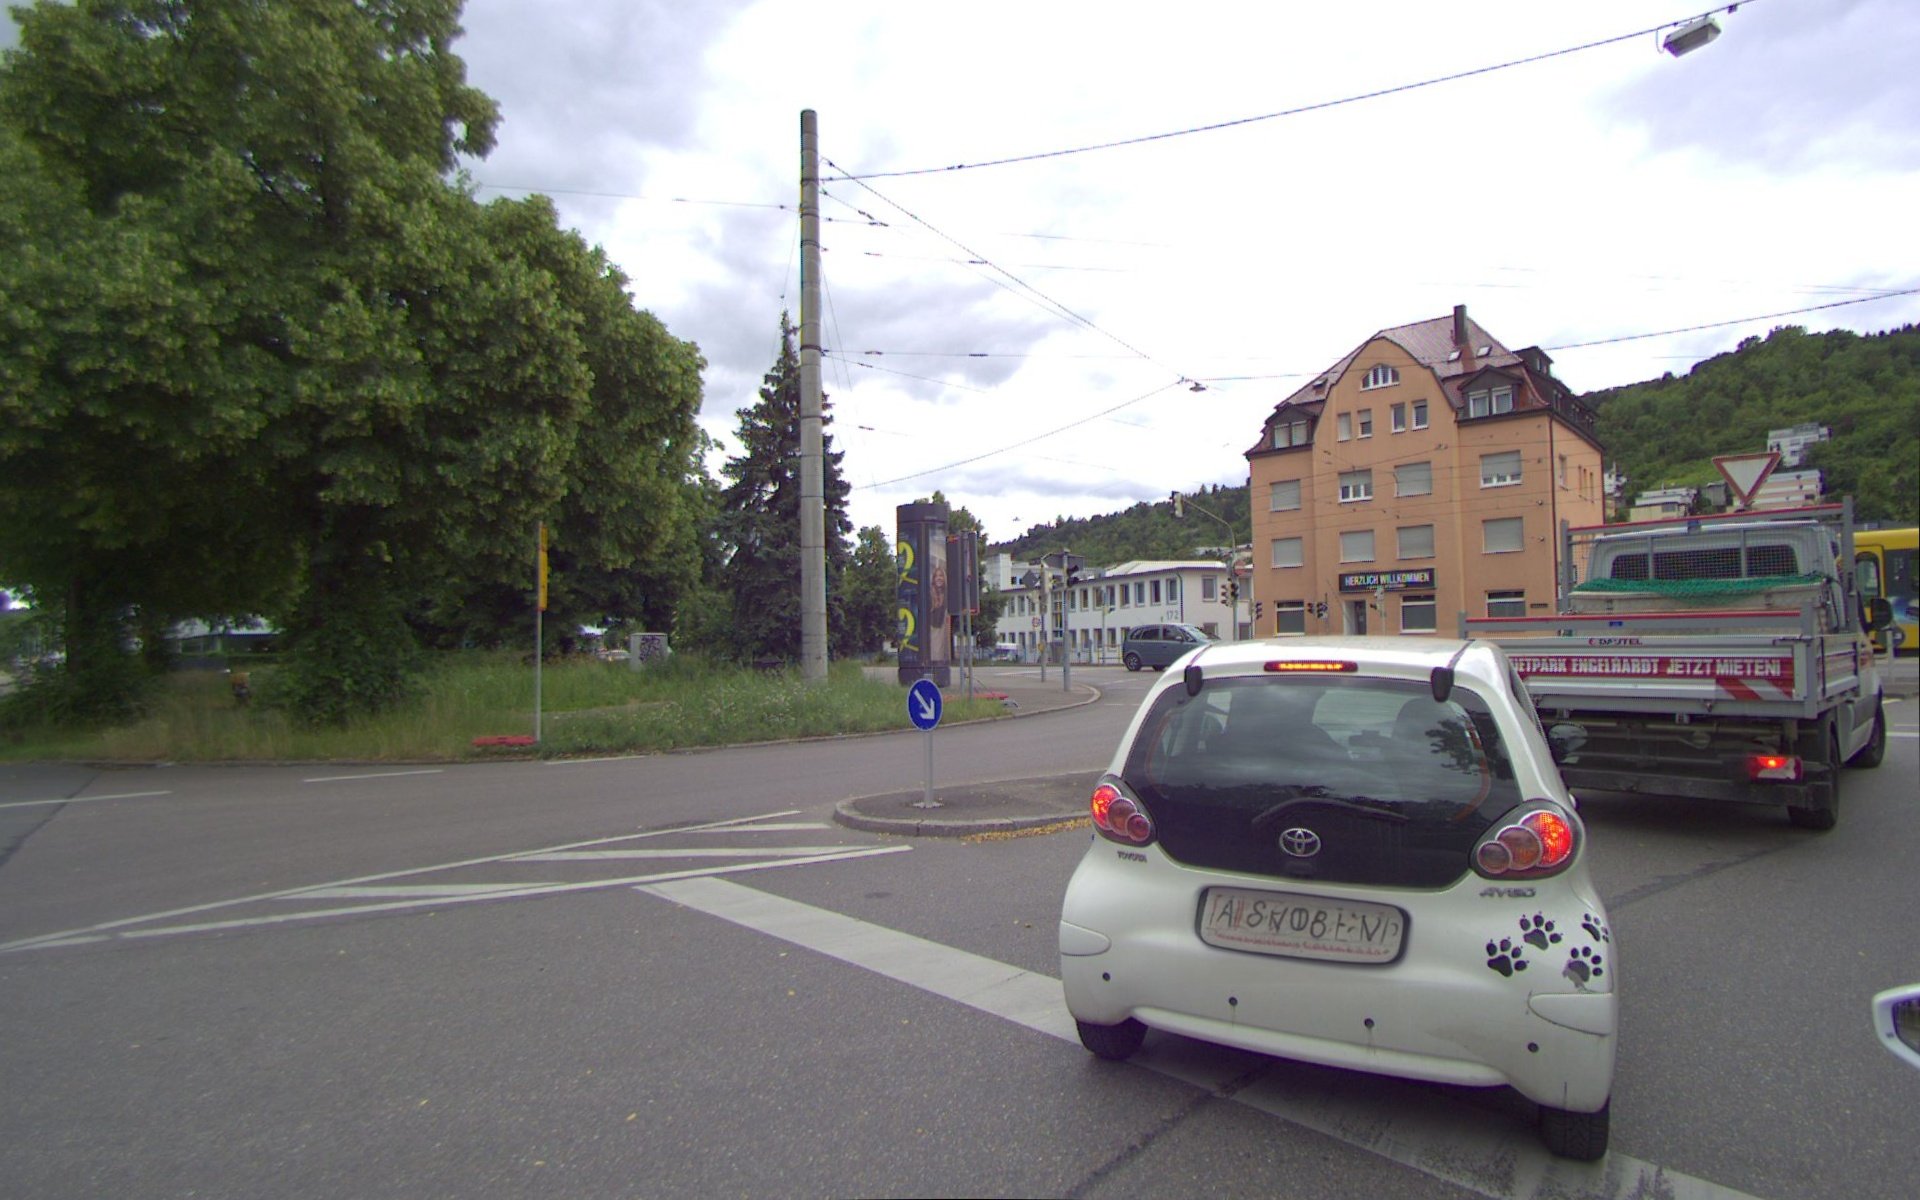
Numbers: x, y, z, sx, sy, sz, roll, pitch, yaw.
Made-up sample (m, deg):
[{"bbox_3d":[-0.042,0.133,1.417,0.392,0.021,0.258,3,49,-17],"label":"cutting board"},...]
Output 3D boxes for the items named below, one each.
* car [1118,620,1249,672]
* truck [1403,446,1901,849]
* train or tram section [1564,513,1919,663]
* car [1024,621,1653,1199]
[{"bbox_3d":[7.335,1.531,33.174,1.791,1.605,3.839,0,-3,-44],"label":"car"},{"bbox_3d":[6.481,0.377,9.003,5.986,2.429,2.399,1,-4,-43],"label":"truck"},{"bbox_3d":[26.431,-0.388,25.272,18.906,3.714,3.259,-4,-3,43],"label":"train or tram section"},{"bbox_3d":[1.745,0.865,4.316,1.615,1.451,3.426,-3,-3,28],"label":"car"}]
